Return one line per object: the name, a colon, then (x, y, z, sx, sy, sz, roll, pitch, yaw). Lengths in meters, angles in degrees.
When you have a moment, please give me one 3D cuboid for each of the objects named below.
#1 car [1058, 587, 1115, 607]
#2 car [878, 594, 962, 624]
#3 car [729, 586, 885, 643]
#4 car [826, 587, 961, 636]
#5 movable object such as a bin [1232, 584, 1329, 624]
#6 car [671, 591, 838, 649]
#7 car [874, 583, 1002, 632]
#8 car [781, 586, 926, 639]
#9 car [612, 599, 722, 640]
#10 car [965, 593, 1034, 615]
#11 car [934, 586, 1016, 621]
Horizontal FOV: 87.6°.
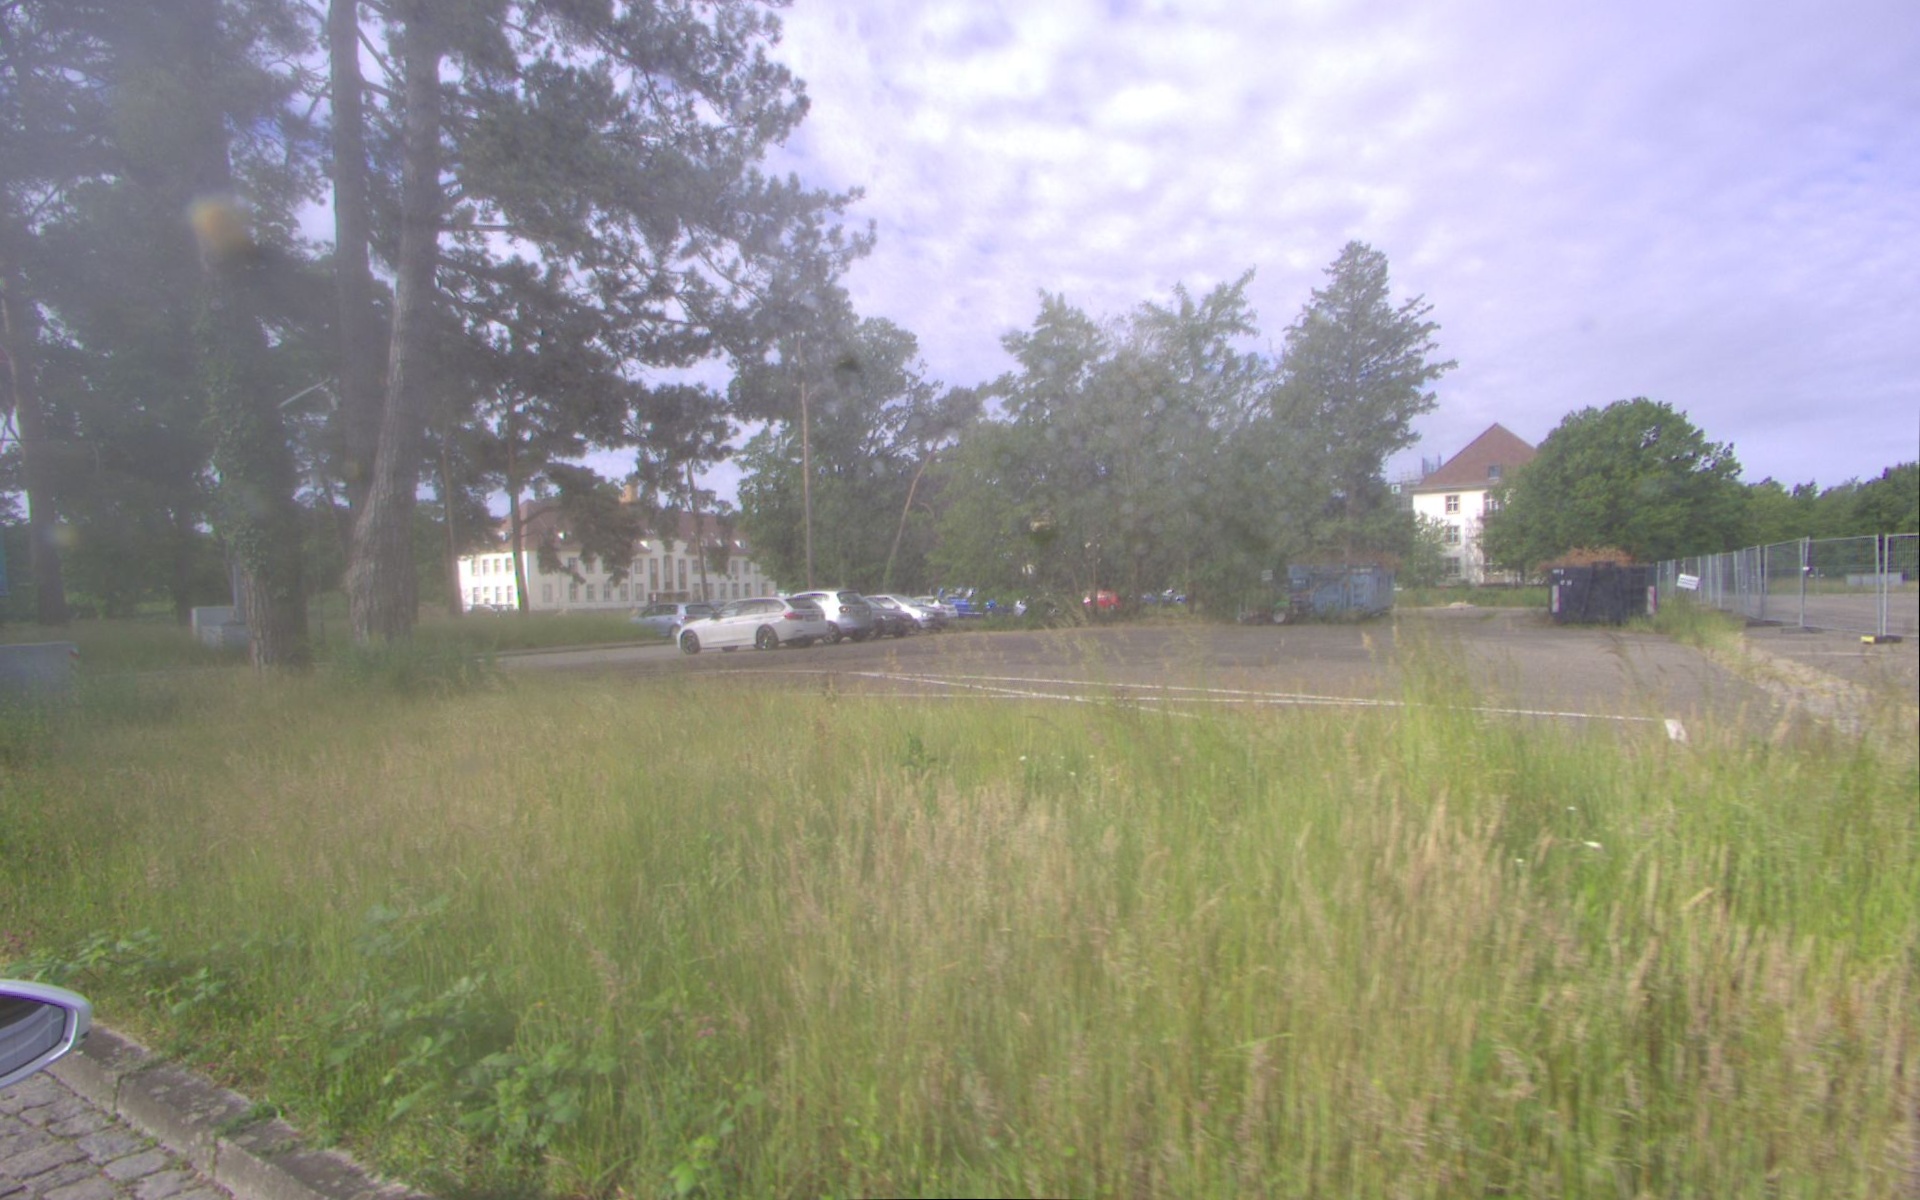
car: (9.665, -0.240, 76.570, 3.936, 1.373, 1.656, -1, 1, 26)
car: (-2.243, 0.516, 55.508, 4.379, 1.544, 1.750, -1, 1, 29)
car: (-4.591, 0.423, 29.993, 4.379, 1.598, 1.864, -1, 1, 29)
car: (-2.350, 0.417, 34.987, 4.379, 1.598, 1.864, -1, 1, 29)
movable object such as a bin: (9.224, 0.108, 28.854, 2.505, 1.098, 1.060, 0, 2, 31)
car: (-5.698, 0.556, 27.647, 4.380, 1.434, 1.750, -2, 1, 29)
car: (-0.814, 0.277, 37.090, 4.379, 1.709, 1.864, -1, 1, 29)
car: (-3.457, 0.418, 32.365, 4.379, 1.598, 1.864, -1, 1, 29)
car: (-11.686, 0.775, 39.901, 4.385, 1.545, 1.748, -1, 1, 33)
car: (2.403, 0.254, 61.801, 3.941, 1.226, 1.654, -1, 1, 31)
car: (0.891, 0.224, 59.569, 4.586, 1.994, 1.750, -1, 1, 29)
